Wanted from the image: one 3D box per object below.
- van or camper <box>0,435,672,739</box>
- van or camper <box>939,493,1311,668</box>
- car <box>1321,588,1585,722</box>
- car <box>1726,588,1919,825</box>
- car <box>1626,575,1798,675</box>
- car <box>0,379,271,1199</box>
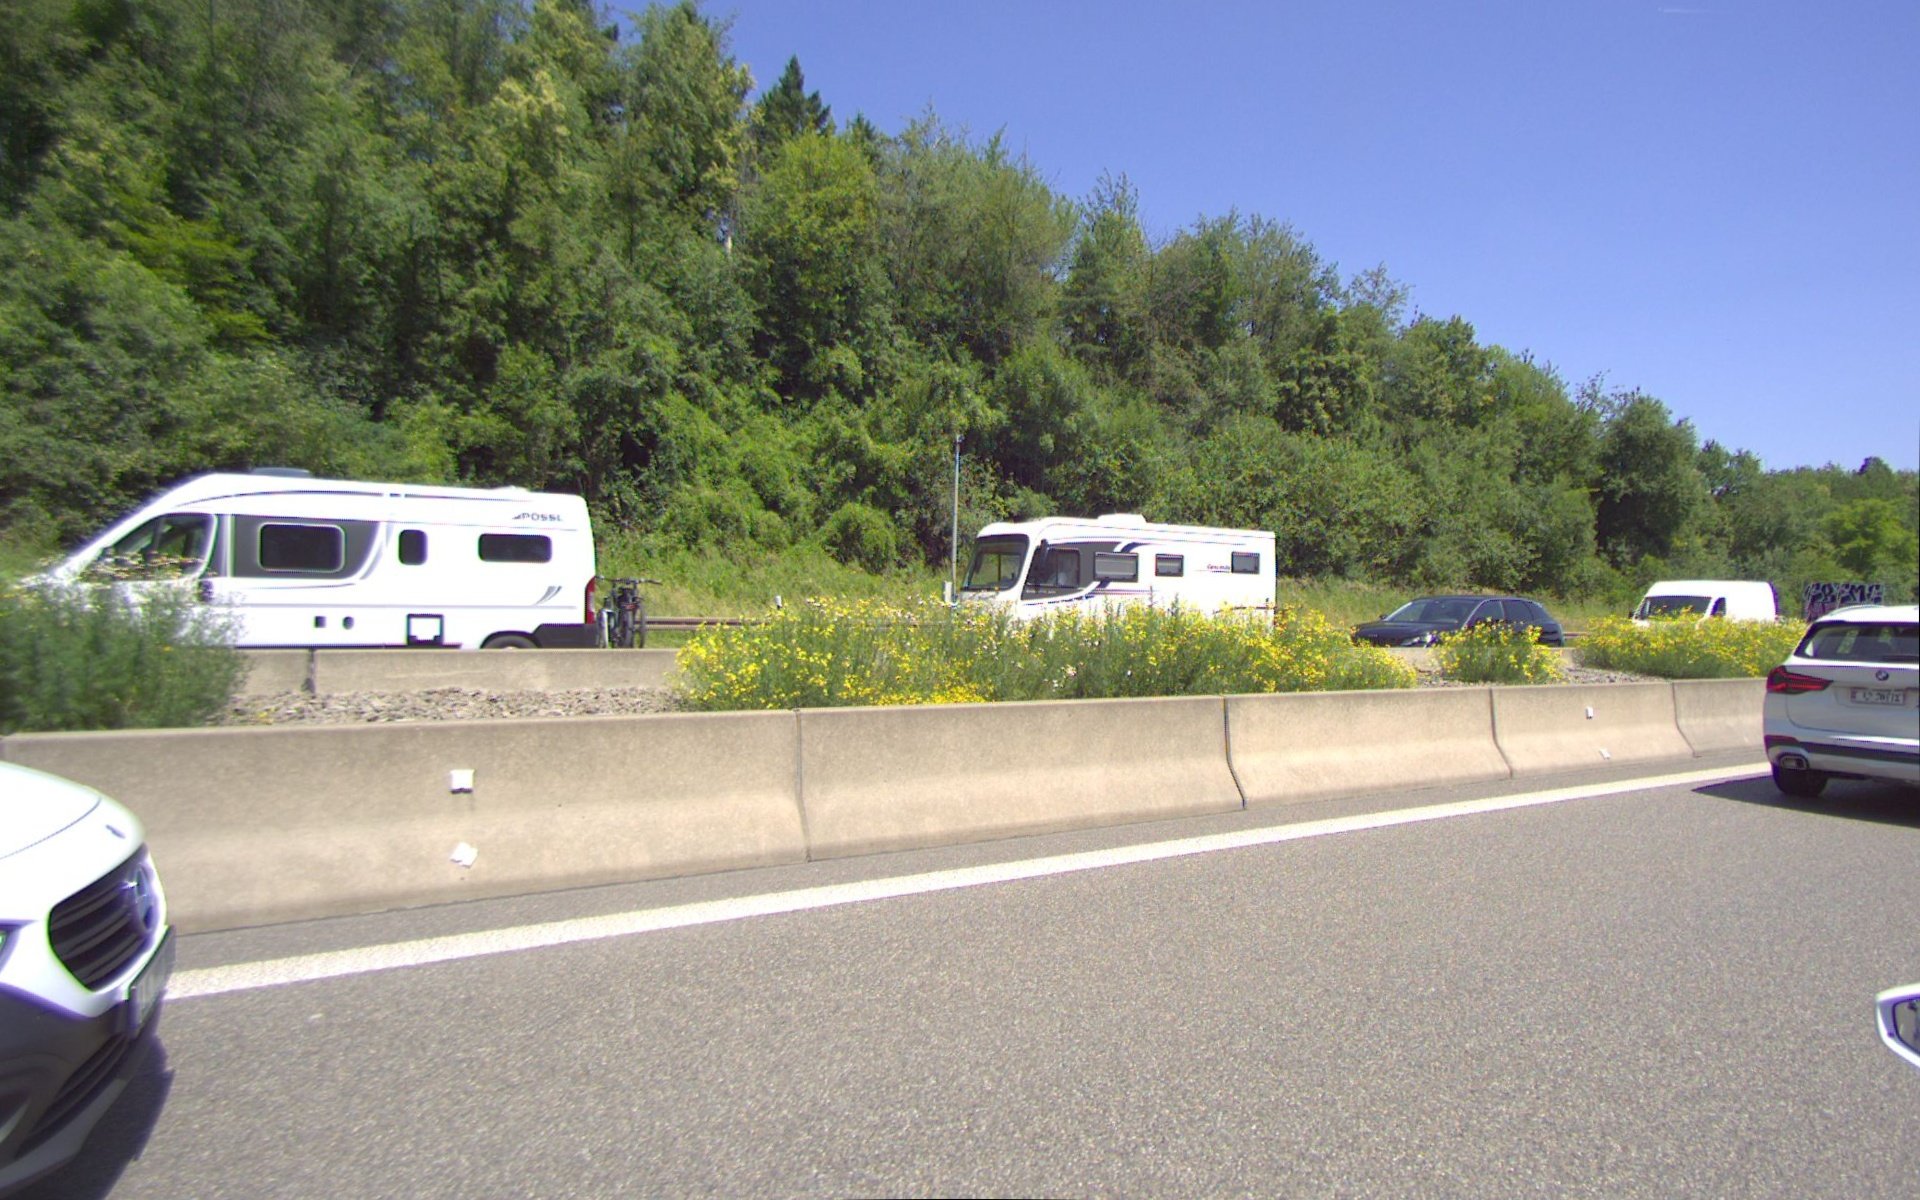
[{"bbox_3d":[-7.093,-0.049,12.315,6.480,2.938,2.247,2,0,-31],"label":"van or camper"},{"bbox_3d":[4.029,-0.244,23.147,8.900,3.361,2.527,3,-1,-31],"label":"van or camper"},{"bbox_3d":[8.124,0.840,16.517,3.952,1.951,1.985,2,0,-29],"label":"car"},{"bbox_3d":[8.909,0.838,8.794,4.900,1.717,1.854,2,-1,-32],"label":"car"},{"bbox_3d":[22.719,0.752,30.285,5.682,2.778,2.189,1,0,-31],"label":"car"},{"bbox_3d":[-3.941,0.465,1.499,4.619,1.837,1.756,2,-1,-30],"label":"car"}]
